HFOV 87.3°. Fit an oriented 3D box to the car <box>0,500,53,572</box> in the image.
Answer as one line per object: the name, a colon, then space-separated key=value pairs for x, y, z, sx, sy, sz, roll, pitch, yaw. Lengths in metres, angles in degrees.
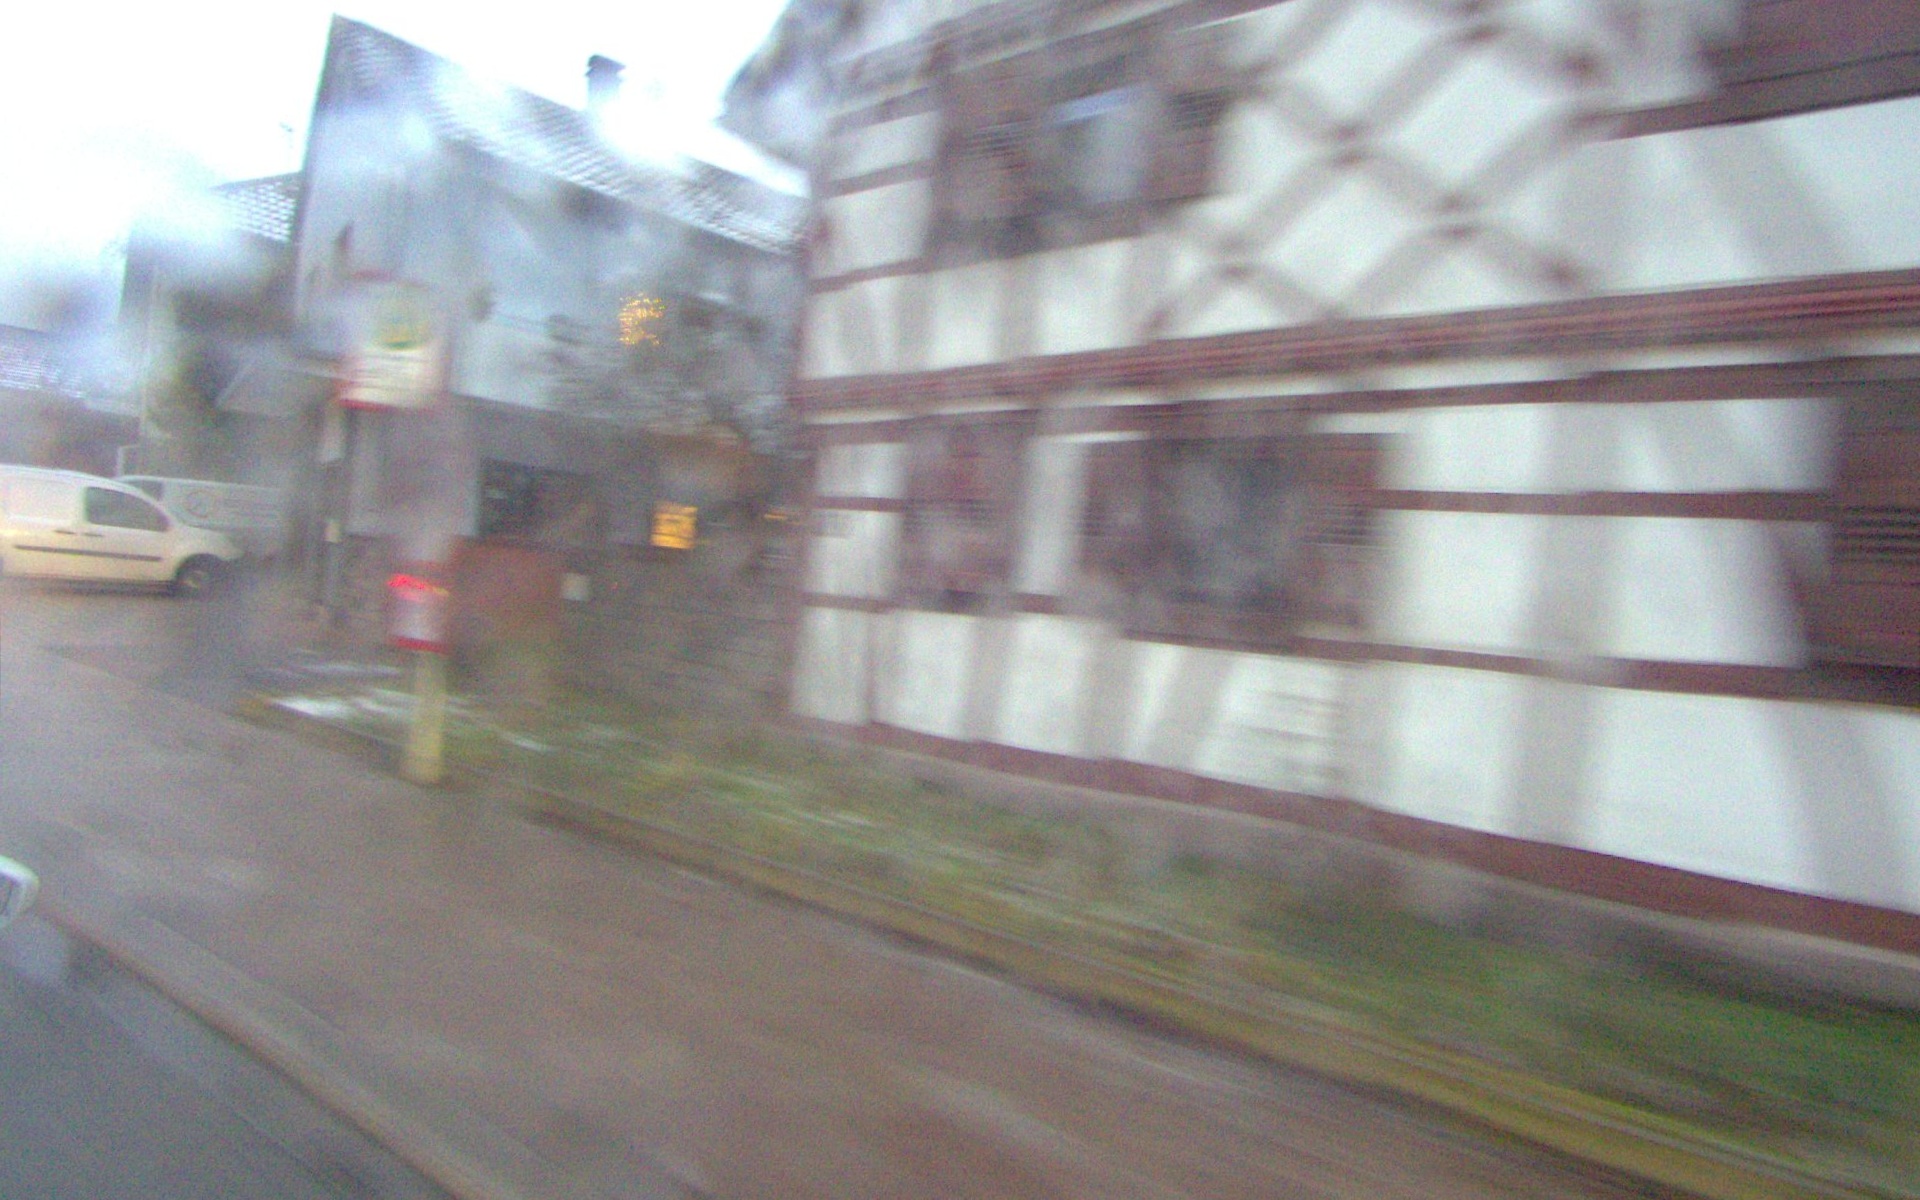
car: x=-21.804 y=-1.511 z=22.060 sx=2.753 sy=1.493 sz=1.409 roll=4 pitch=1 yaw=-44

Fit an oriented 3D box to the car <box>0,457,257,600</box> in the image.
car: x=-13.472 y=-1.083 z=15.443 sx=1.838 sy=1.867 sz=4.033 roll=6 pitch=1 yaw=41

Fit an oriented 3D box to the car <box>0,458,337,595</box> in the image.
car: x=-14.391 y=-1.263 z=18.189 sx=4.963 sy=1.914 sz=1.912 roll=4 pitch=2 yaw=-45
